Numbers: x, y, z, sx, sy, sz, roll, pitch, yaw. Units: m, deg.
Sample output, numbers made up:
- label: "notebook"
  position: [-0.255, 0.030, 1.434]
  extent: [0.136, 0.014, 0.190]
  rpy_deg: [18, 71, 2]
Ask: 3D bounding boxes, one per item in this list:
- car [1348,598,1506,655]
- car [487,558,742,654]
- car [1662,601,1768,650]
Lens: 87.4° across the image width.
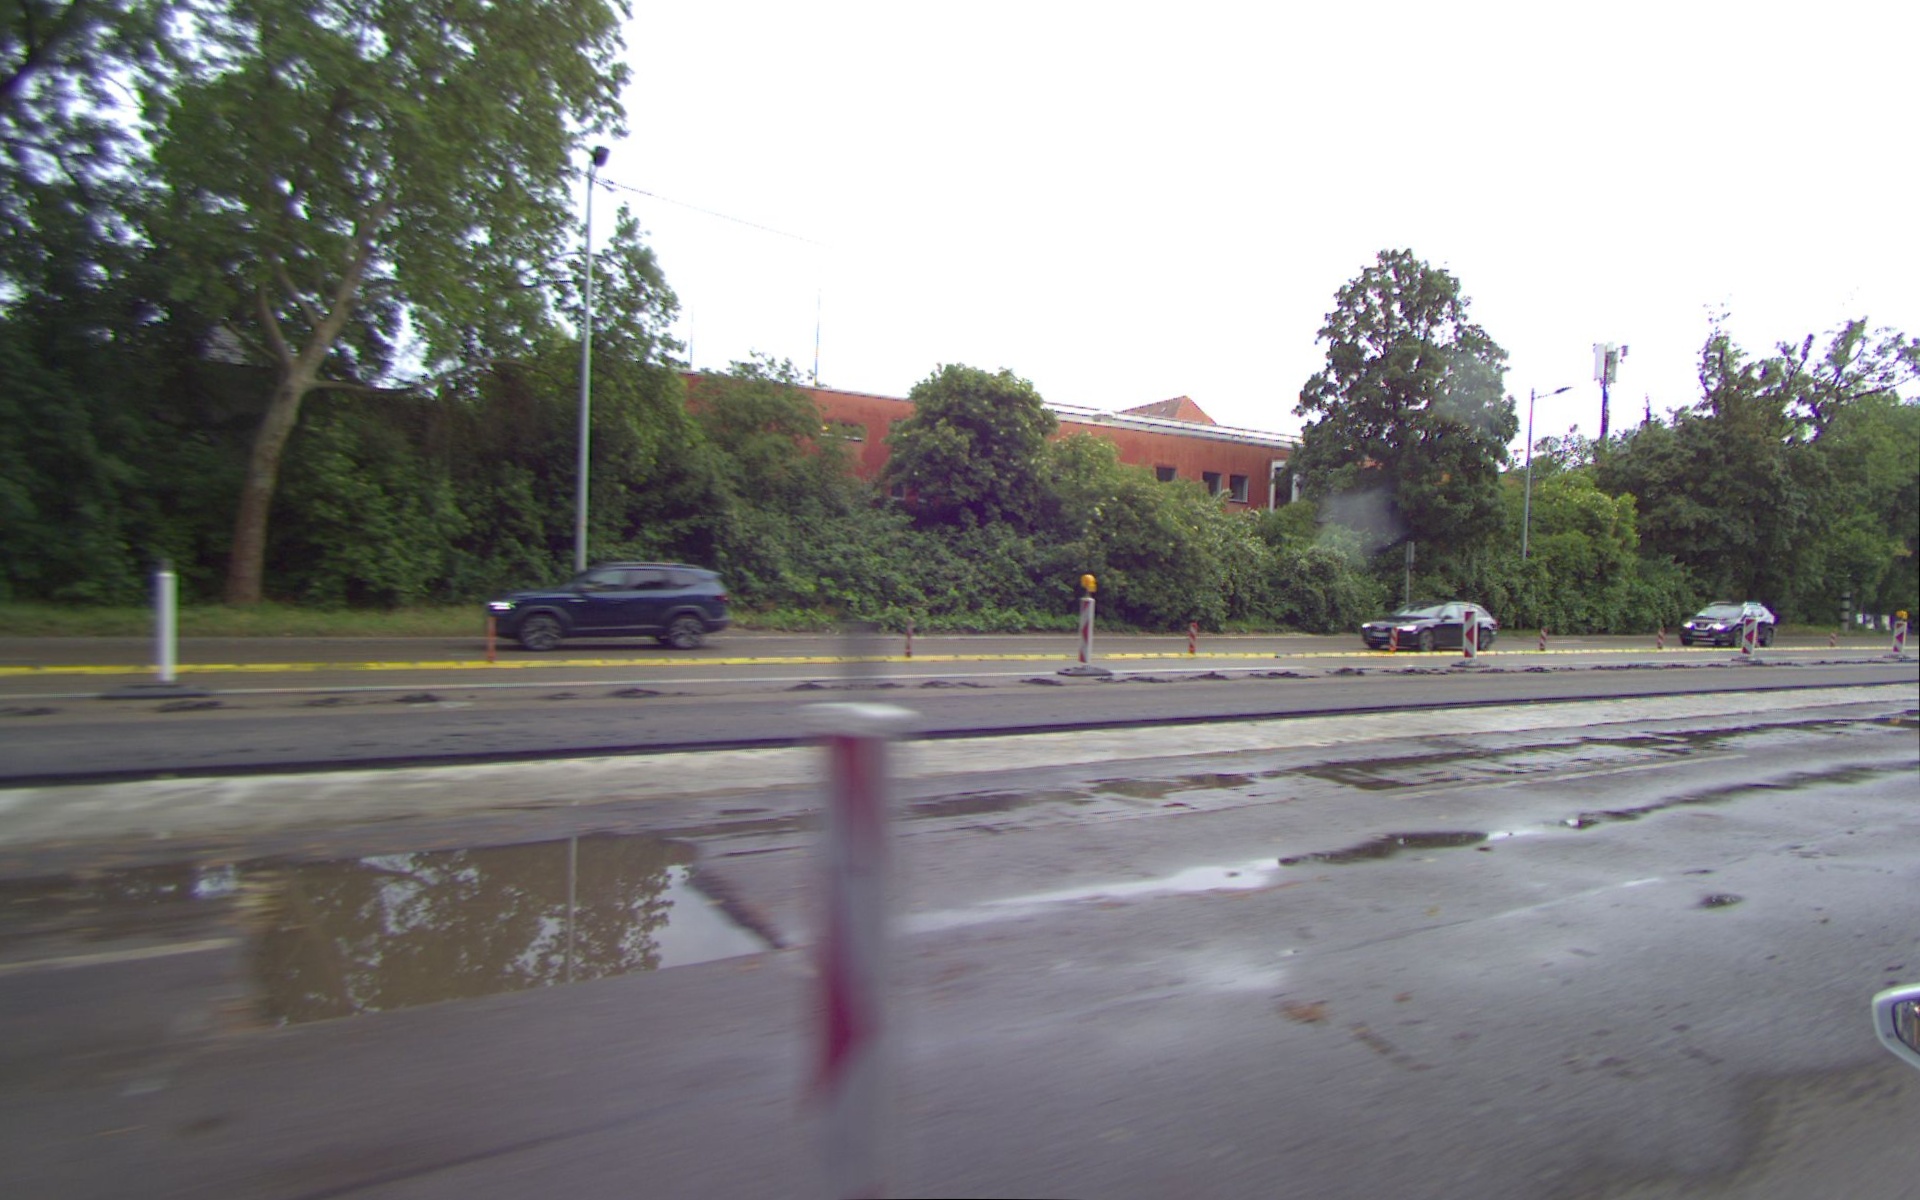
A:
- label: "car"
  position: [13.578, 0.750, 29.120]
  extent: [4.845, 1.503, 1.751]
  rpy_deg: [1, 1, -32]
- label: "car"
  position: [-6.710, 0.114, 19.681]
  extent: [4.481, 1.708, 1.644]
  rpy_deg: [1, 2, -31]
- label: "car"
  position: [29.189, 0.975, 38.793]
  extent: [4.443, 1.745, 1.725]
  rpy_deg: [1, 1, -32]
